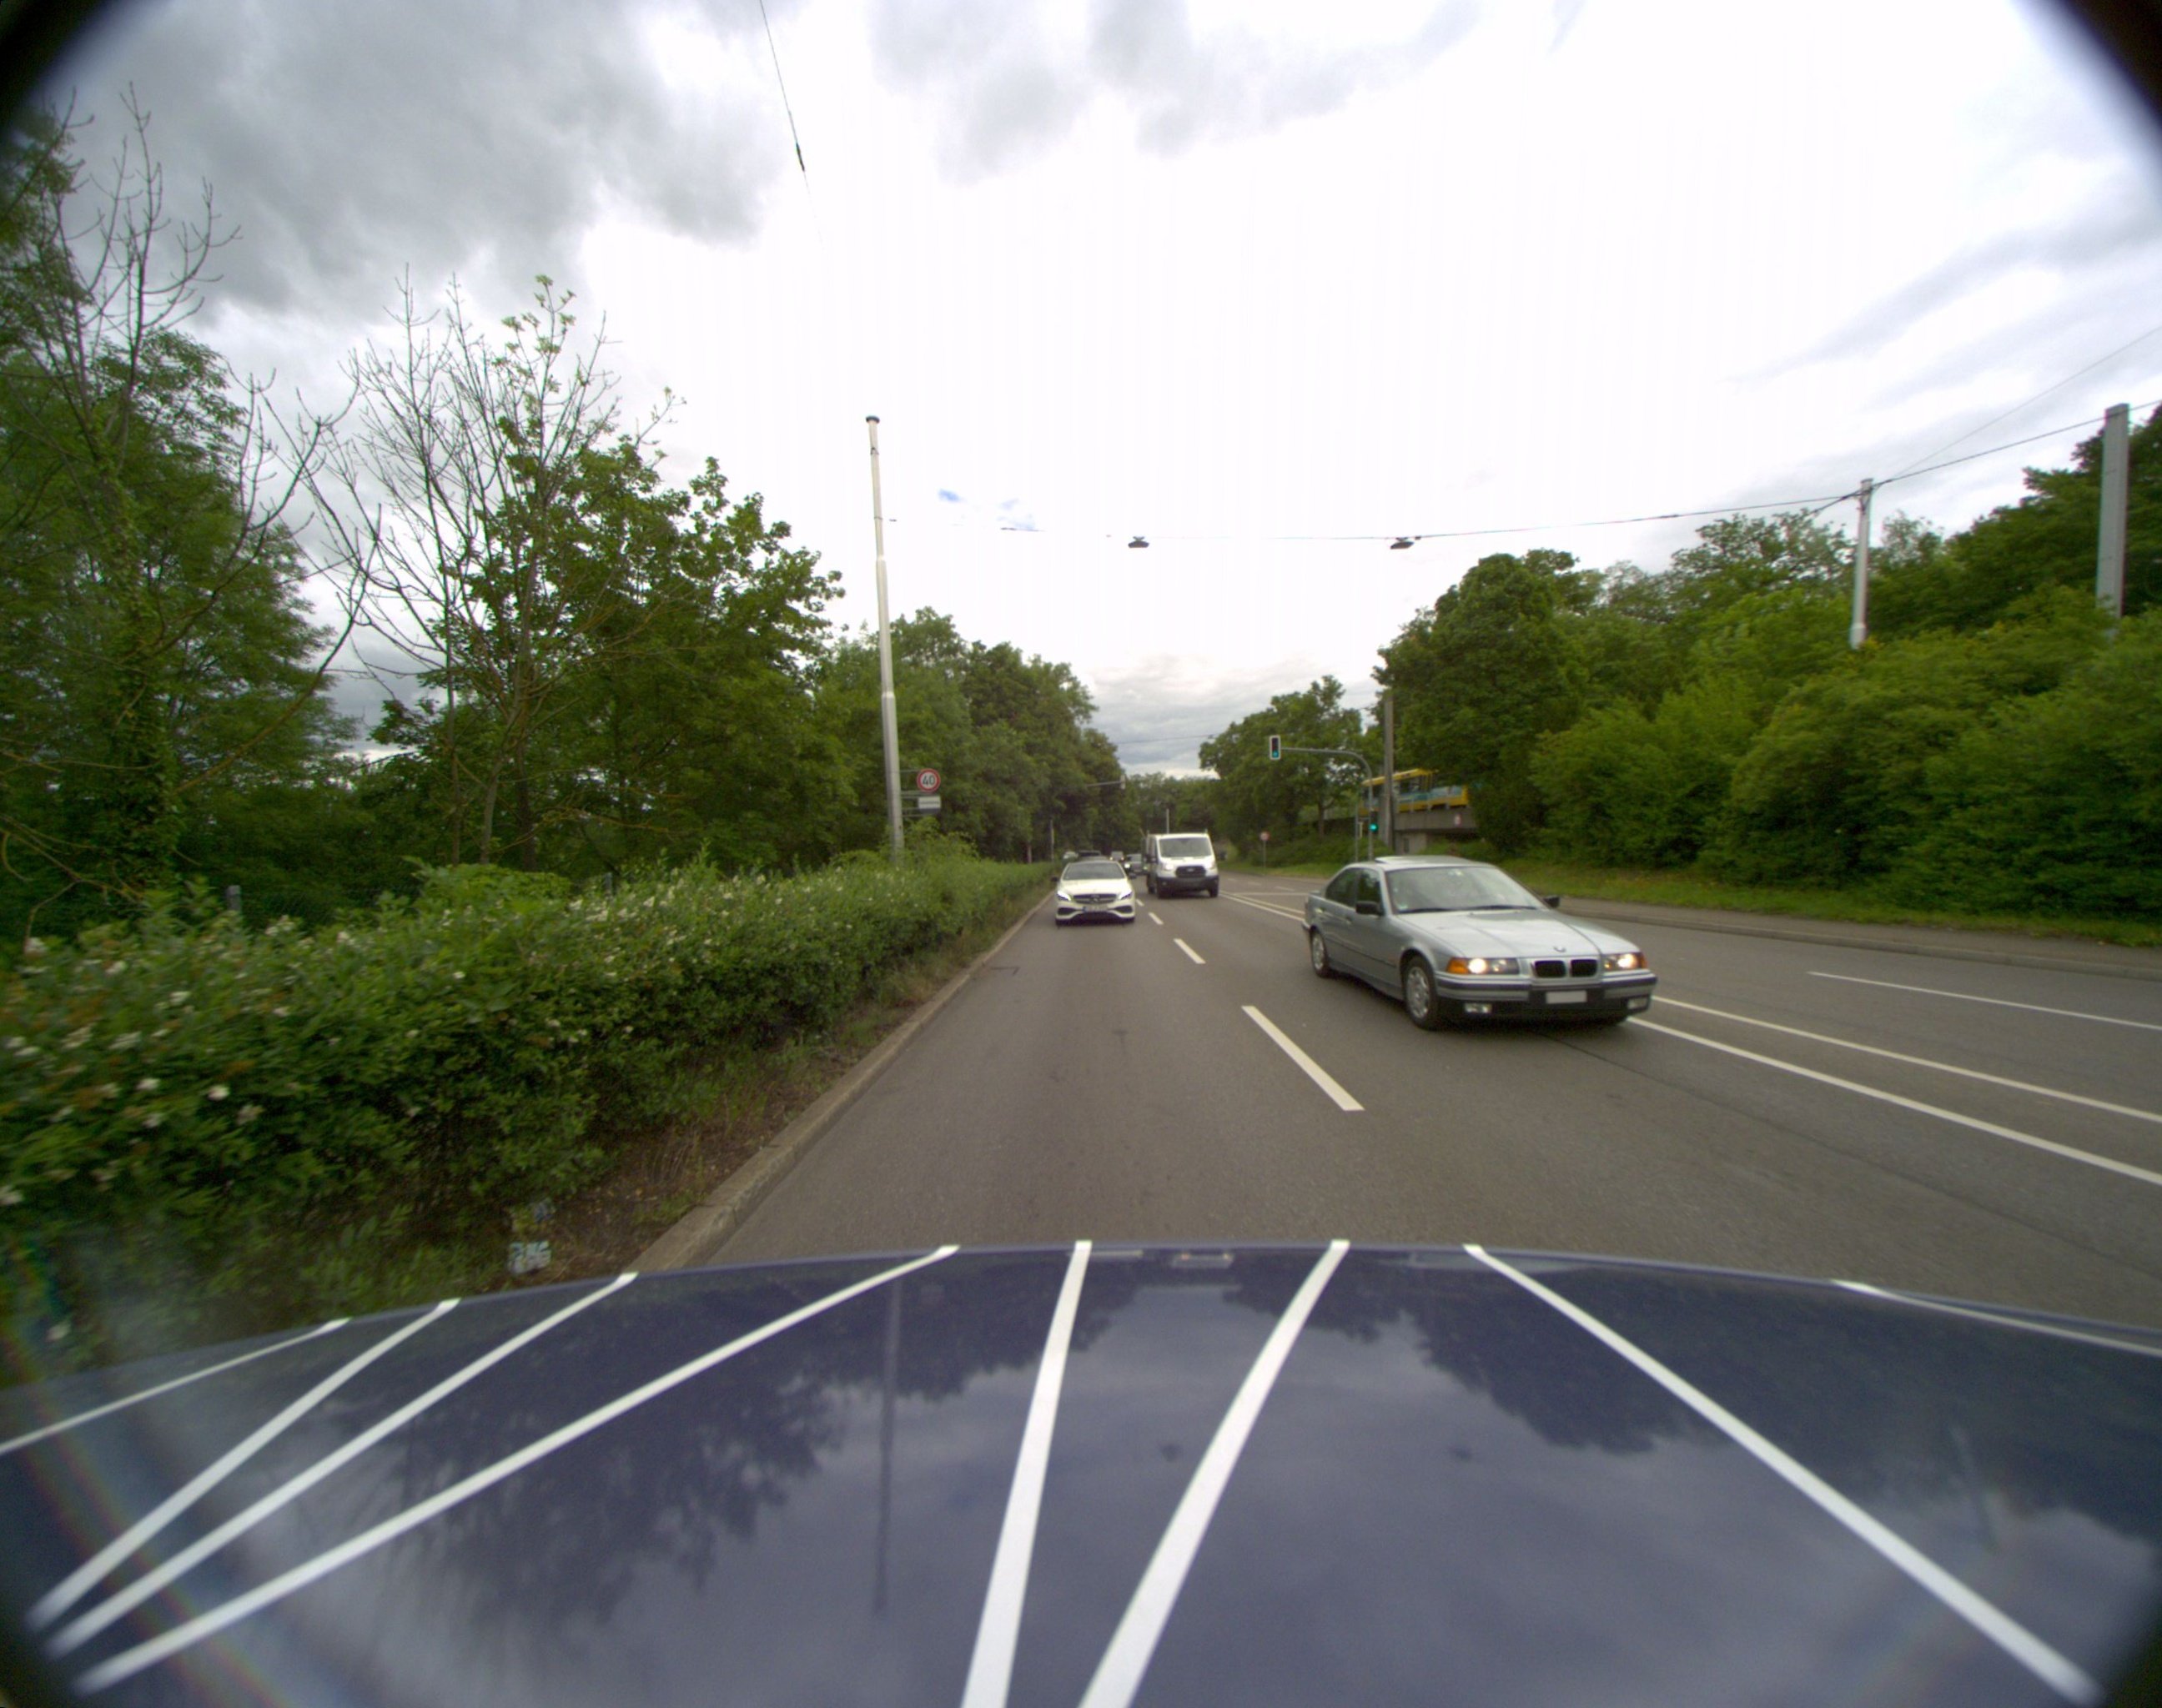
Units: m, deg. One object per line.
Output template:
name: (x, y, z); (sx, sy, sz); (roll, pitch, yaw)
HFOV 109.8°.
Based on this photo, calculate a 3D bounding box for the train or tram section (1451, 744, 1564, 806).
train or tram section: (25.498, -4.621, 45.994); (2.062, 3.026, 8.149); (-3, 2, -1)

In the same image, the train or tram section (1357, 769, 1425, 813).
train or tram section: (25.238, -5.028, 62.335); (2.062, 3.026, 8.149); (-3, 2, -1)

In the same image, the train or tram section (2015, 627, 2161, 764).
train or tram section: (27.128, -3.975, 17.078); (2.063, 3.026, 8.148); (-3, 2, -2)

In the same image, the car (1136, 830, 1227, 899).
car: (3.433, 0.309, 27.472); (2.253, 2.113, 6.668); (-2, 0, -1)

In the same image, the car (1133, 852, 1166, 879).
car: (4.058, 0.650, 45.431); (1.677, 1.532, 4.553); (-1, 0, 2)

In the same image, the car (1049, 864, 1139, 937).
car: (0.285, 0.973, 17.672); (1.807, 1.385, 4.283); (-1, 0, 1)

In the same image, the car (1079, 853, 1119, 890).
car: (0.757, 0.752, 34.951); (1.678, 1.532, 4.614); (-1, 0, 0)

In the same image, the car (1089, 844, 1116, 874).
car: (1.535, 0.350, 55.542); (1.826, 2.059, 4.614); (-1, 0, 0)

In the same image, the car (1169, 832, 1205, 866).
car: (10.206, -0.496, 73.598); (2.276, 3.038, 7.235); (-2, 0, -1)

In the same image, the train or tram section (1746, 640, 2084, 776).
train or tram section: (26.811, -4.490, 25.237); (2.063, 3.026, 8.148); (-3, 2, -2)

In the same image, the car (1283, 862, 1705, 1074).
car: (3.496, 0.820, 7.610); (1.757, 1.385, 4.614); (-1, 0, 1)

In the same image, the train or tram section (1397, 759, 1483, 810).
train or tram section: (25.368, -4.814, 54.161); (2.062, 3.026, 8.149); (-3, 2, -1)

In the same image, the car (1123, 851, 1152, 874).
car: (3.962, 0.552, 54.196); (1.678, 1.532, 4.614); (-1, 0, 0)

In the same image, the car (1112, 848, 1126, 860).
car: (4.856, 0.035, 98.709); (1.677, 1.532, 4.615); (-1, 0, 1)

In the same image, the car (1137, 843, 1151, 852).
car: (12.504, -1.315, 150.738); (1.761, 1.863, 4.620); (-1, 0, 15)
